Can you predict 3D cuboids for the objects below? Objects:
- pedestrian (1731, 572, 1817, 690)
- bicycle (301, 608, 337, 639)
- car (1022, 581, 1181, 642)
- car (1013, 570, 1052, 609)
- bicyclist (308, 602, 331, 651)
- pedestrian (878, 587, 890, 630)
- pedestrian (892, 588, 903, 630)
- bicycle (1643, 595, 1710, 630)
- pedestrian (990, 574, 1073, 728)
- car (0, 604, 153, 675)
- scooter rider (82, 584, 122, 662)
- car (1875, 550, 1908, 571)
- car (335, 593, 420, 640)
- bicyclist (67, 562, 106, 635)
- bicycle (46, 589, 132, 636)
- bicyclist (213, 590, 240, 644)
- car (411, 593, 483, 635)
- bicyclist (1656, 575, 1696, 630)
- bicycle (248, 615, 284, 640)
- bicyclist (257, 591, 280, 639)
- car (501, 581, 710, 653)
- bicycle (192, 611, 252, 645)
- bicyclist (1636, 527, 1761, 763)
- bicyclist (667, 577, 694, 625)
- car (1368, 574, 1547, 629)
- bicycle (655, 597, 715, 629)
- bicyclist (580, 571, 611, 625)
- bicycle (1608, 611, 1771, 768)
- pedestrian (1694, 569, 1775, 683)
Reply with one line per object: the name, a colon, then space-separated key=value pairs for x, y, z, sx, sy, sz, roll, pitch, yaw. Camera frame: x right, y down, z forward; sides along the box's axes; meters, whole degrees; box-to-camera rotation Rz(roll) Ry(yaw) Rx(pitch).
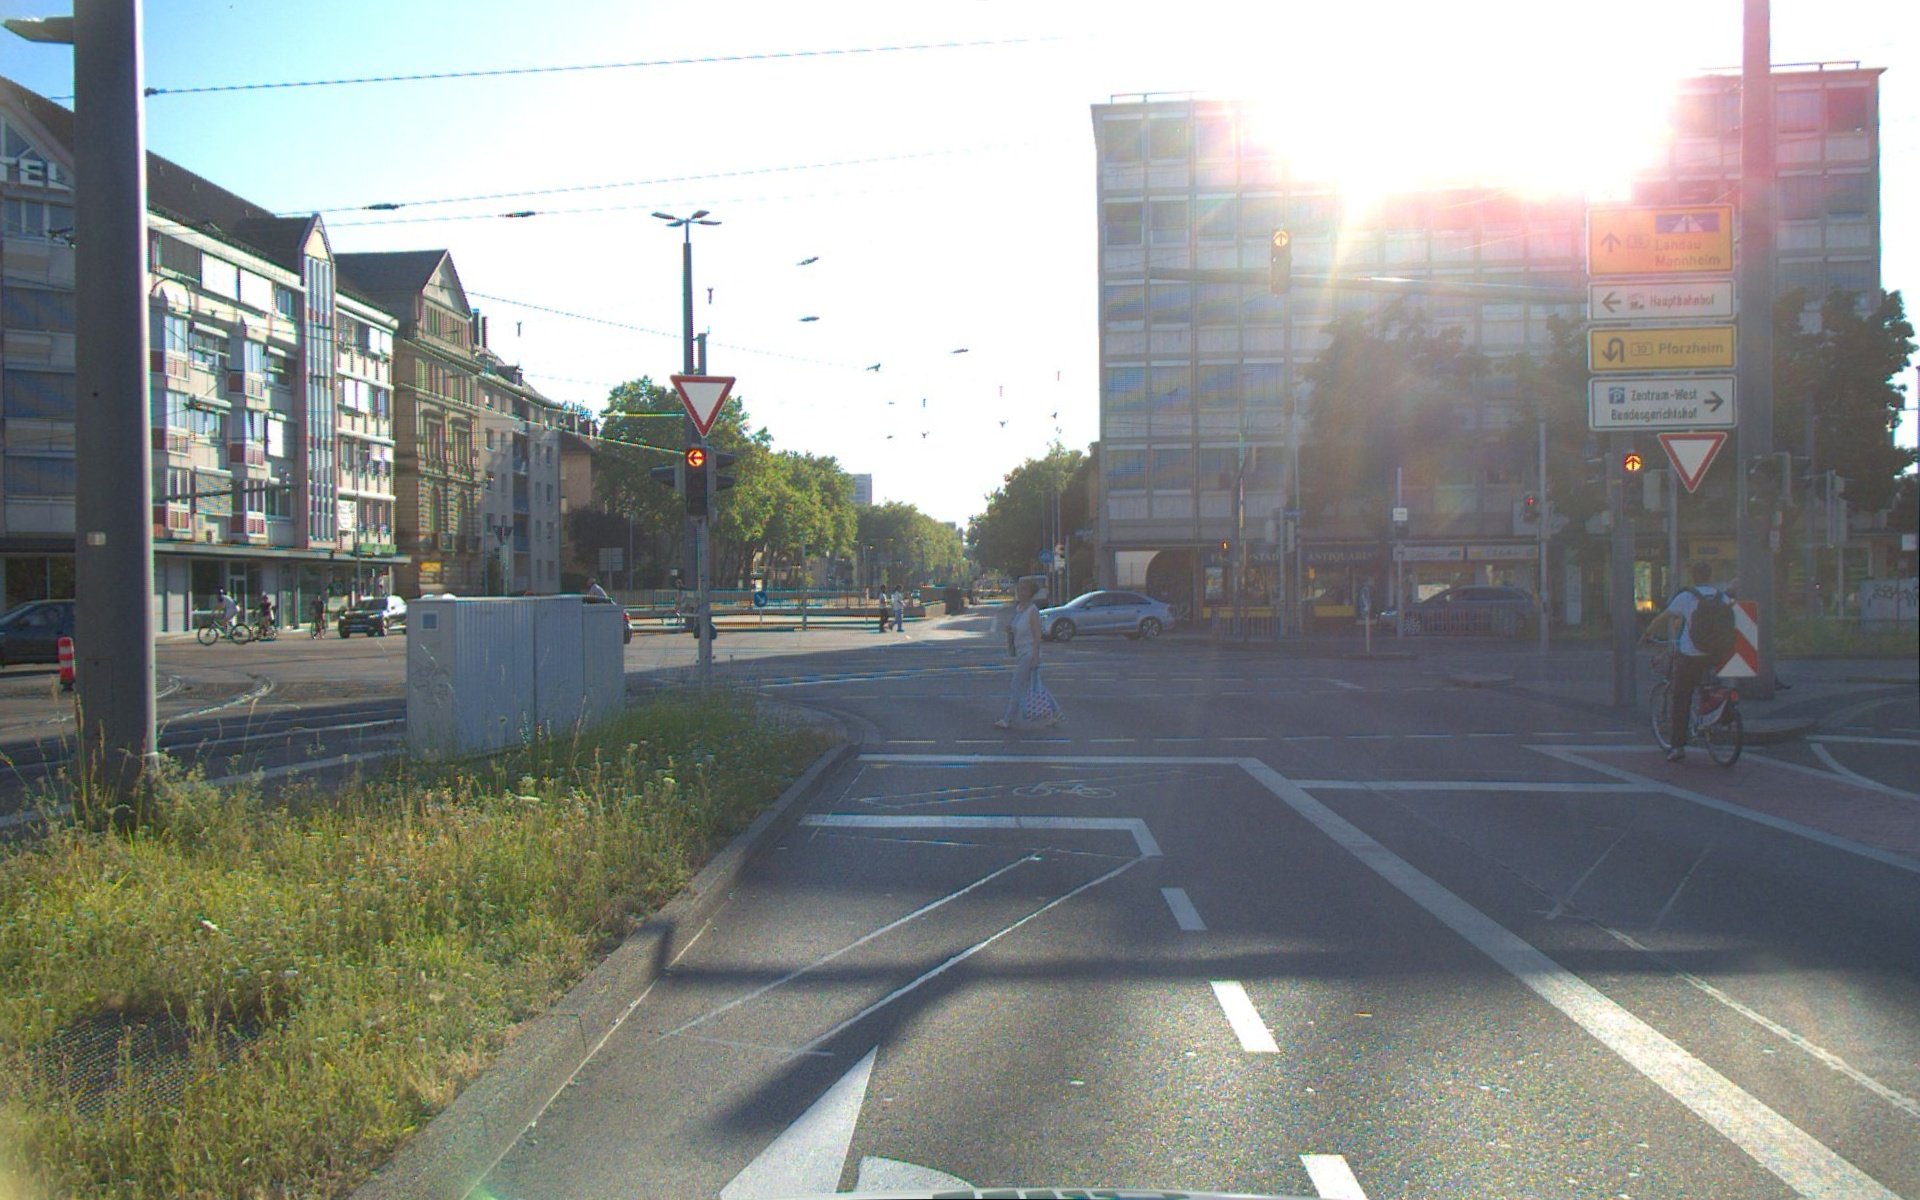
pedestrian: x=11.513 y=0.432 z=23.414 sx=0.860 sy=1.625 sz=0.655 roll=-1 pitch=0 yaw=-1
bicycle: x=-27.056 y=0.985 z=69.824 sx=0.595 sy=1.222 sz=1.969 roll=-1 pitch=0 yaw=6
car: x=4.044 y=0.319 z=47.612 sx=4.249 sy=1.624 sz=1.997 roll=-1 pitch=0 yaw=-7
car: x=4.895 y=-0.695 z=112.681 sx=2.435 sy=2.434 sz=5.935 roll=-2 pitch=0 yaw=1
bicyclist: x=-27.042 y=1.123 z=69.800 sx=0.590 sy=2.049 sz=0.779 roll=-1 pitch=0 yaw=5
pedestrian: x=-2.757 y=0.317 z=59.842 sx=0.358 sy=1.534 sz=0.542 roll=-1 pitch=0 yaw=-6
pedestrian: x=-2.305 y=0.339 z=60.750 sx=0.358 sy=1.534 sz=0.542 roll=-1 pitch=0 yaw=-6
bicycle: x=23.559 y=0.396 z=54.398 sx=1.933 sy=1.117 sz=0.677 roll=-1 pitch=0 yaw=-3
pedestrian: x=0.774 y=0.543 z=18.022 sx=0.860 sy=1.625 sz=0.655 roll=-1 pitch=0 yaw=1
car: x=-18.672 y=0.784 z=33.384 sx=3.967 sy=1.310 sz=1.818 roll=-2 pitch=0 yaw=-43
scooter rider: x=-19.395 y=0.510 z=37.396 sx=0.652 sy=1.742 sz=0.524 roll=-1 pitch=0 yaw=-14
car: x=68.406 y=-2.896 z=121.496 sx=1.955 sy=1.422 sz=3.995 roll=-1 pitch=0 yaw=28
car: x=-24.707 y=0.666 z=70.289 sx=1.952 sy=1.892 sz=4.002 roll=-1 pitch=0 yaw=4
bicyclist: x=-21.167 y=-0.040 z=40.086 sx=0.651 sy=1.742 sz=0.537 roll=-1 pitch=0 yaw=-9
bicycle: x=-21.113 y=0.302 z=40.095 sx=1.742 sy=1.091 sz=0.534 roll=-1 pitch=0 yaw=-9
bicyclist: x=-24.033 y=0.563 z=54.167 sx=0.651 sy=1.742 sz=0.537 roll=-1 pitch=0 yaw=-8
car: x=-24.263 y=0.655 z=78.361 sx=1.952 sy=1.892 sz=4.002 roll=-1 pitch=0 yaw=4
bicyclist: x=23.539 y=0.074 z=54.400 sx=1.019 sy=1.769 sz=0.677 roll=-1 pitch=0 yaw=-3
bicycle: x=-27.688 y=1.097 z=65.997 sx=0.586 sy=0.931 sz=1.837 roll=-1 pitch=0 yaw=3
bicyclist: x=-27.690 y=0.609 z=66.206 sx=0.580 sy=1.894 sz=0.642 roll=-1 pitch=0 yaw=3
car: x=-8.822 y=0.397 z=41.268 sx=4.722 sy=1.624 sz=1.977 roll=-2 pitch=0 yaw=-34
bicycle: x=-24.150 y=0.909 z=54.153 sx=1.700 sy=1.078 sz=0.538 roll=-1 pitch=0 yaw=-9
bicyclist: x=6.659 y=0.374 z=14.969 sx=0.630 sy=2.048 sz=1.067 roll=1 pitch=2 yaw=2
bicyclist: x=-10.518 y=0.049 z=62.248 sx=0.880 sy=1.783 sz=0.650 roll=-1 pitch=0 yaw=-3
car: x=14.358 y=0.046 z=48.022 sx=4.814 sy=1.504 sz=2.002 roll=-1 pitch=0 yaw=12
bicycle: x=-10.334 y=0.474 z=62.263 sx=2.130 sy=1.157 sz=0.659 roll=-1 pitch=0 yaw=-3
bicyclist: x=-12.093 y=-0.075 z=54.922 sx=0.880 sy=1.783 sz=0.654 roll=-1 pitch=0 yaw=-3
bicycle: x=6.650 y=0.772 z=15.190 sx=0.631 sy=1.244 sz=2.049 roll=1 pitch=2 yaw=2
pedestrian: x=11.306 y=0.370 z=24.164 sx=0.860 sy=1.625 sz=0.655 roll=-1 pitch=0 yaw=-1
